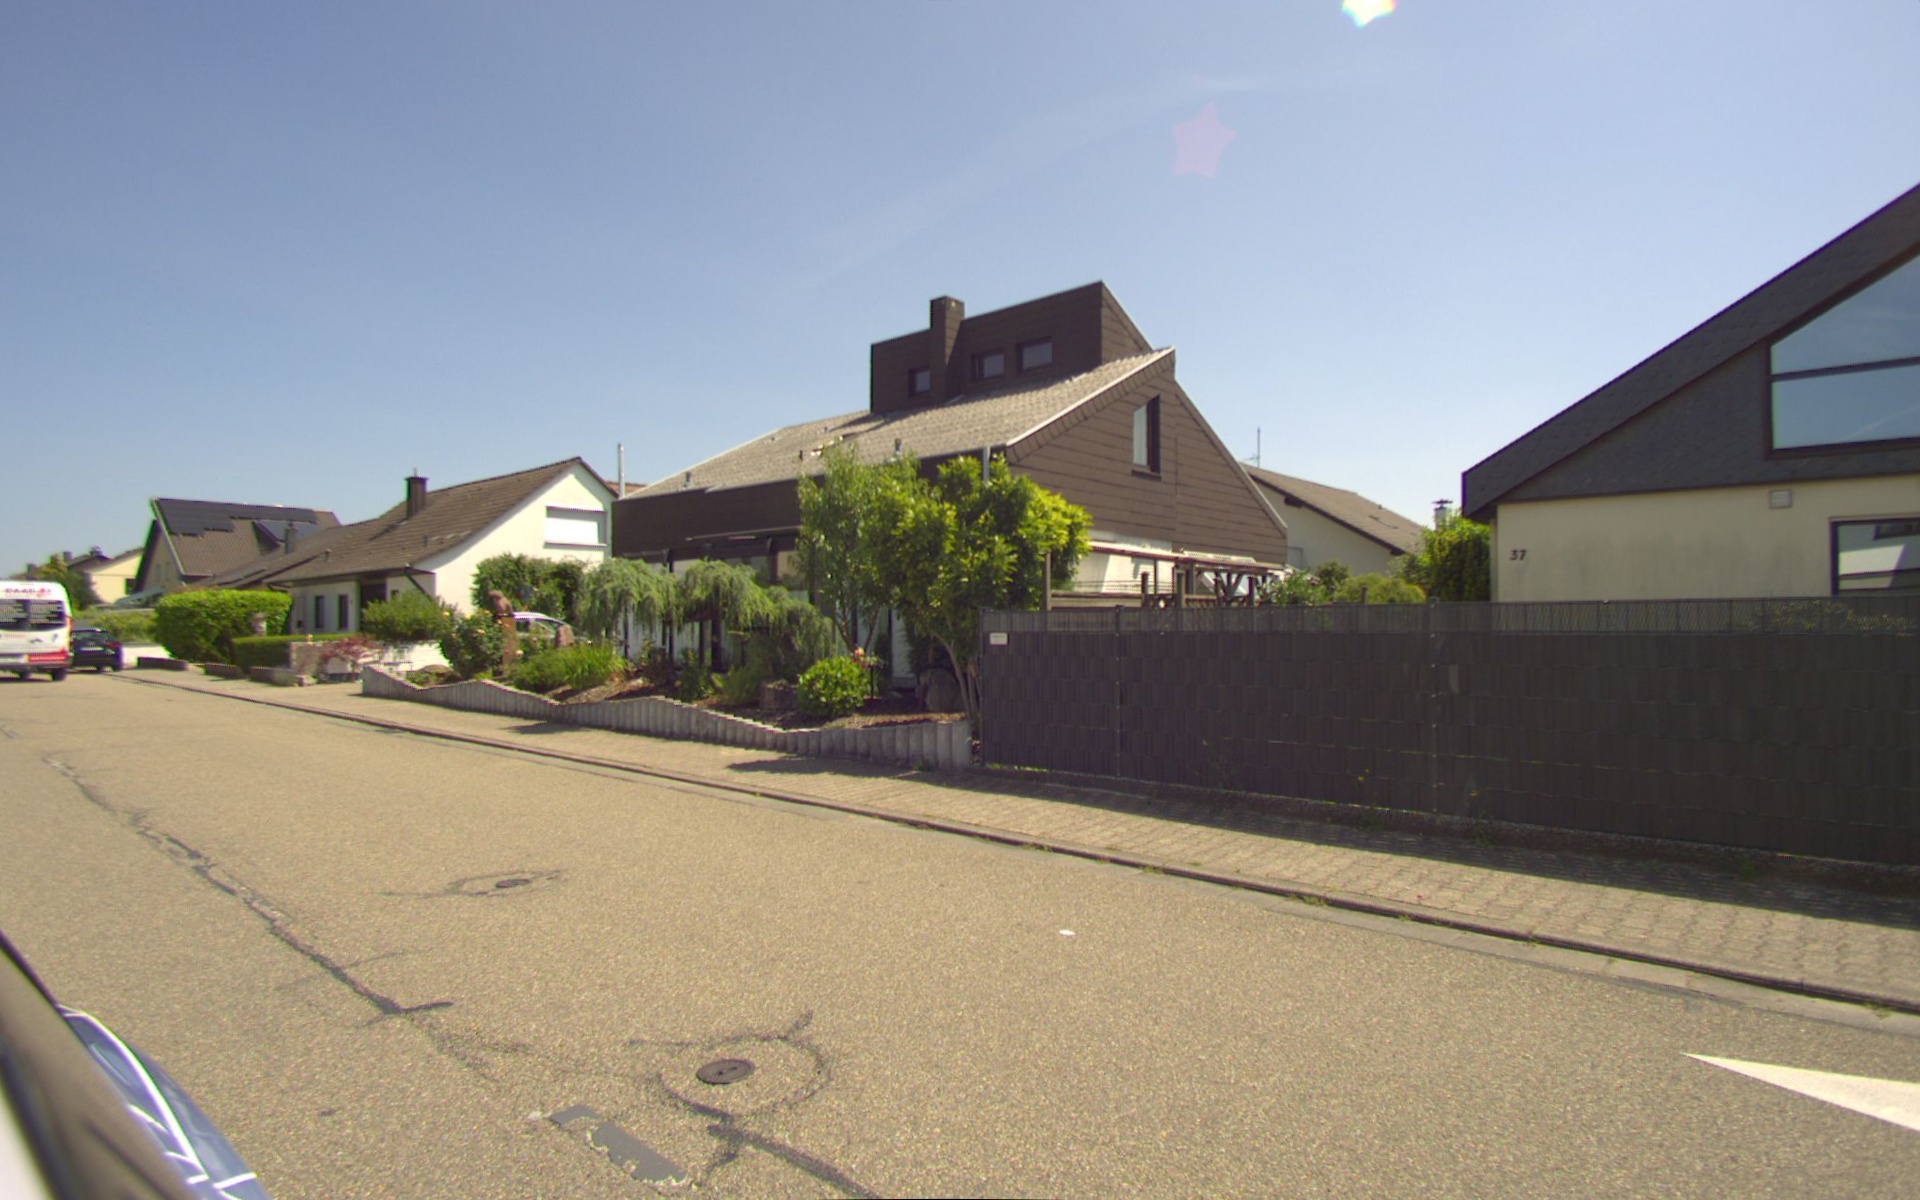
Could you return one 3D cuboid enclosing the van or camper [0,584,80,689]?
[{"bbox_3d":[-25.529,0.972,26.937,4.591,2.611,2.047,-1,-2,34],"label":"van or camper"}]

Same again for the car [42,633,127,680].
[{"bbox_3d":[-28.463,1.790,32.861,4.002,1.409,1.783,-1,-2,45],"label":"car"}]

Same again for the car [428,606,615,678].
[{"bbox_3d":[-11.039,1.037,25.693,1.901,1.697,3.947,-2,-2,40],"label":"car"}]
